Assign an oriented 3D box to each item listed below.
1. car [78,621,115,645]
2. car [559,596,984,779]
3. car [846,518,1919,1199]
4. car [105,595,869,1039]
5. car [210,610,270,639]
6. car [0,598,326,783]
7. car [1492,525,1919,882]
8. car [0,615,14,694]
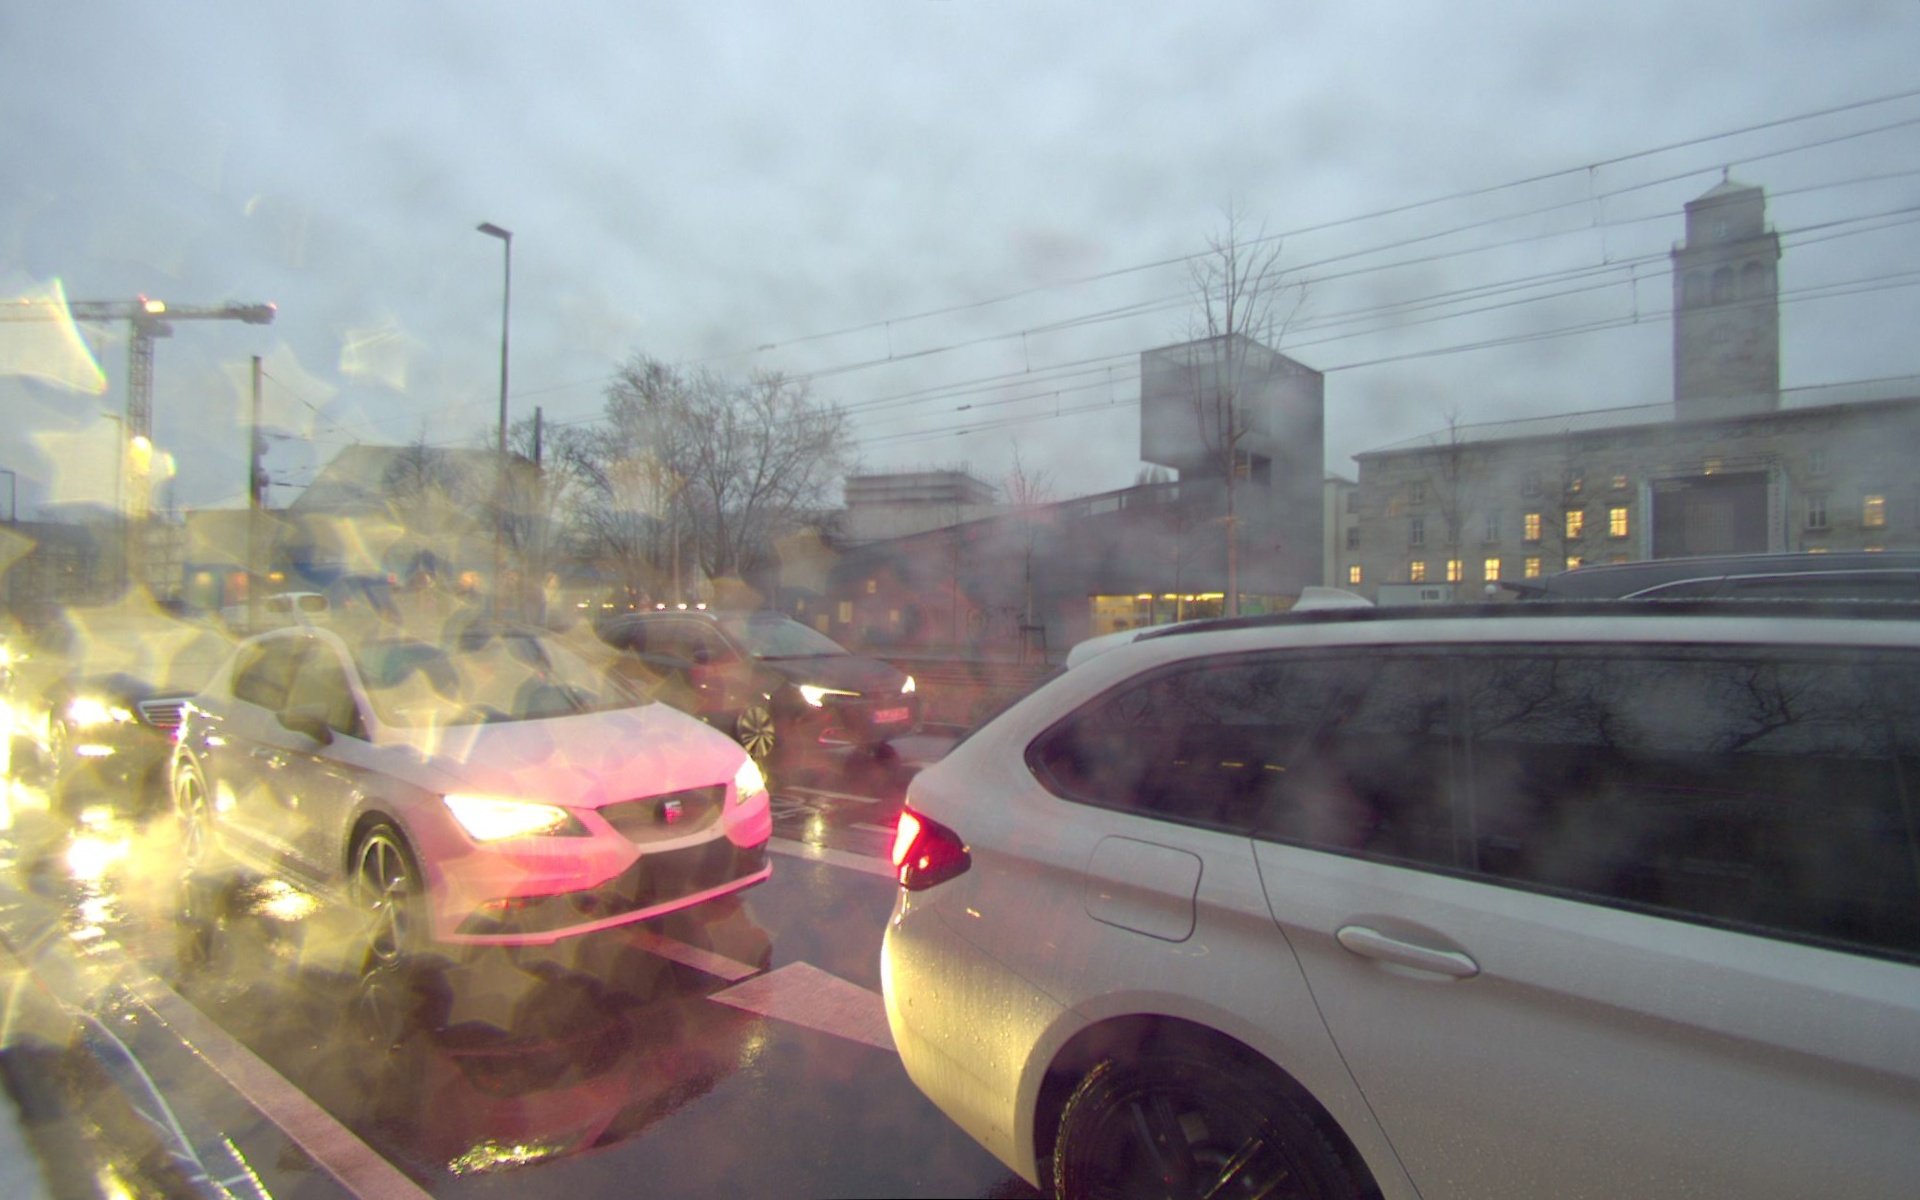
[{"bbox_3d":[-77.739,2.926,91.103,3.998,2.029,1.973,-1,0,41],"label":"car"},{"bbox_3d":[-2.136,0.752,10.621,4.659,1.519,1.830,0,-1,39],"label":"car"},{"bbox_3d":[2.100,0.666,1.665,4.557,1.498,1.996,-1,-2,41],"label":"car"},{"bbox_3d":[-2.823,0.766,5.576,4.497,1.498,1.926,-1,0,37],"label":"car"},{"bbox_3d":[-49.207,1.678,69.144,3.989,1.910,2.072,-1,-2,34],"label":"car"},{"bbox_3d":[-8.478,0.783,10.413,4.501,1.498,1.974,-1,-2,39],"label":"car"},{"bbox_3d":[5.236,0.469,4.994,4.289,1.596,1.946,-1,-1,42],"label":"car"},{"bbox_3d":[-21.129,1.116,20.941,3.998,1.586,1.882,-1,0,41],"label":"car"}]
